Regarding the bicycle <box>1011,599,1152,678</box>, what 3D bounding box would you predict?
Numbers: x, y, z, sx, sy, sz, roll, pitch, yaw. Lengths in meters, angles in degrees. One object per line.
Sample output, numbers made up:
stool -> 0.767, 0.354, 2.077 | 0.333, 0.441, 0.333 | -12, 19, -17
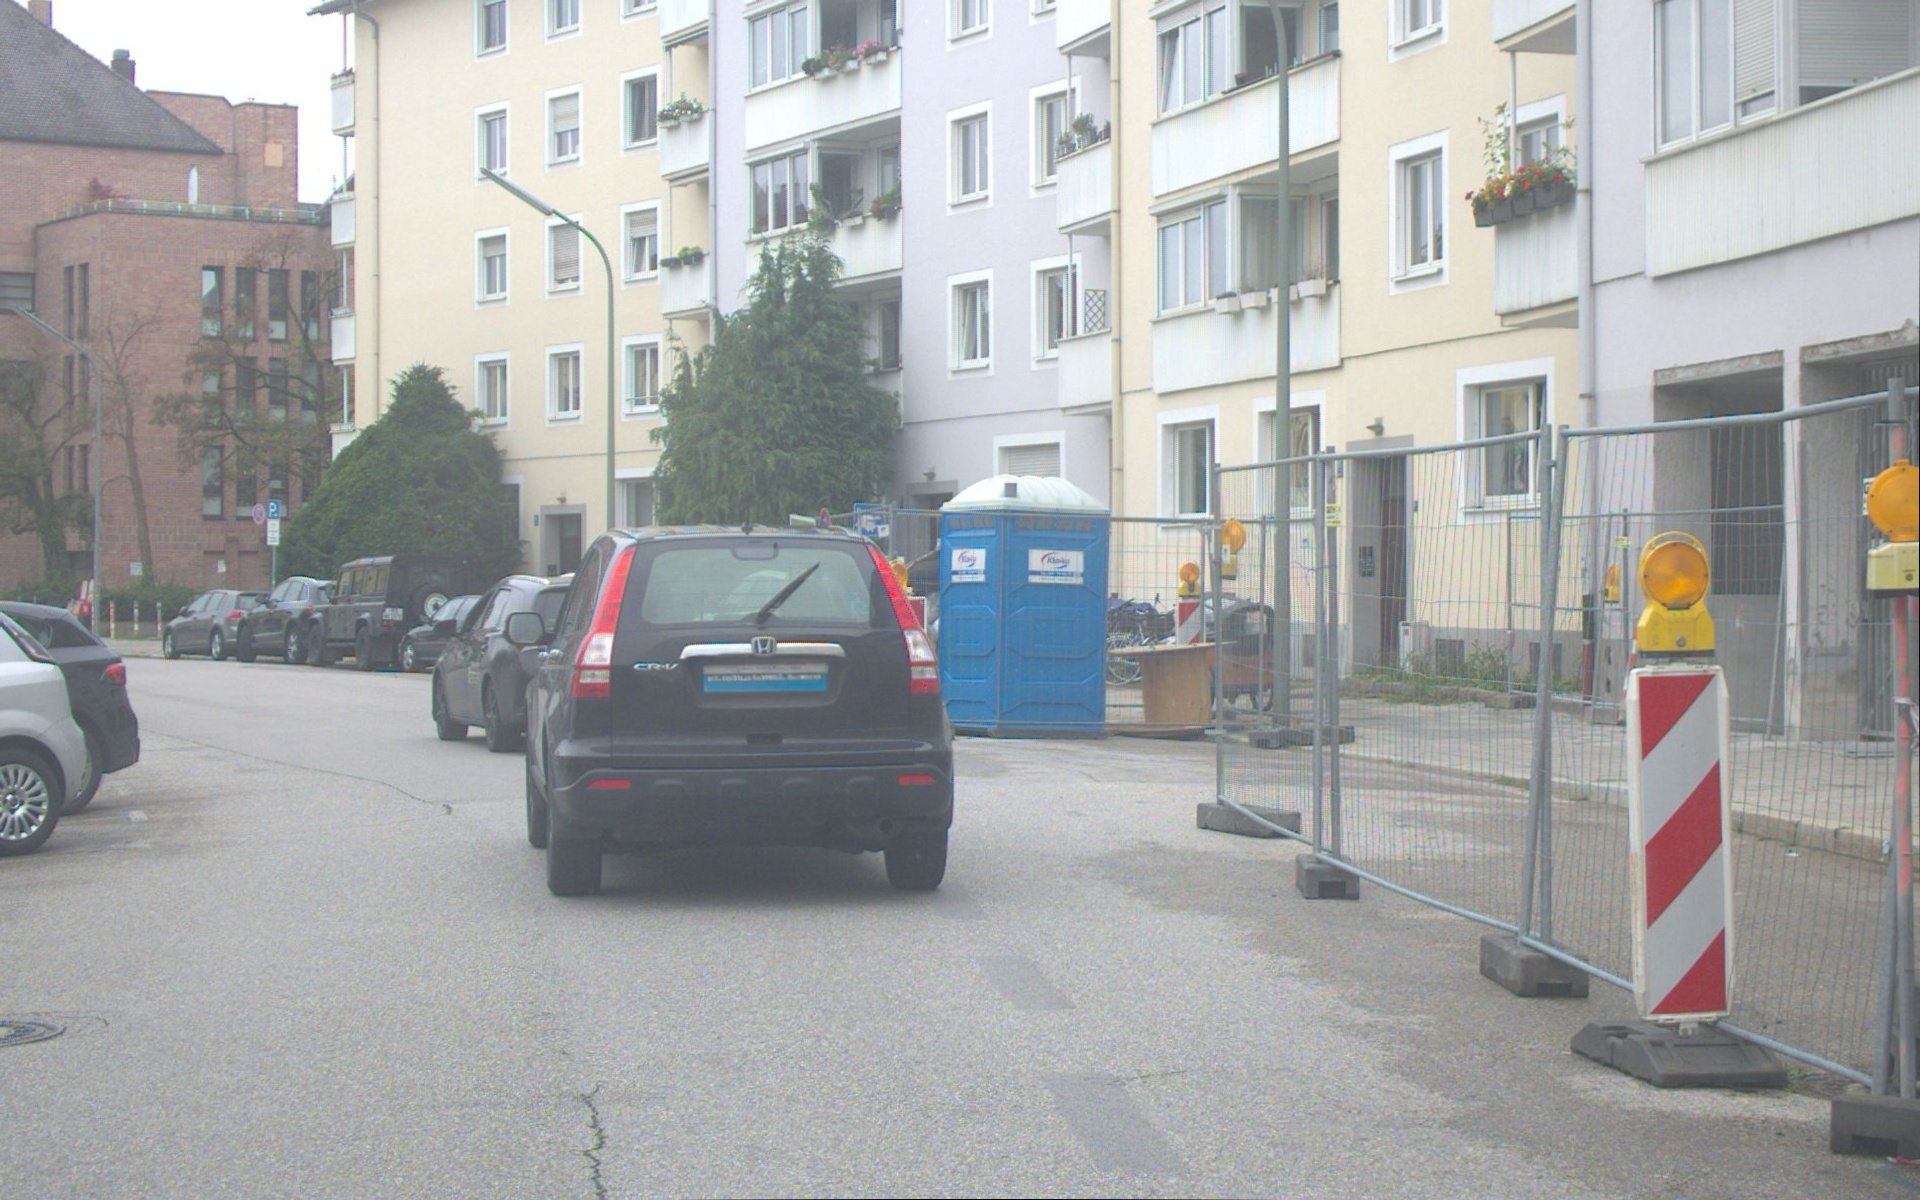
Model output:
bicycle -> 1.699, 0.532, 48.206 | 1.865, 1.087, 0.646 | 0, 0, -15

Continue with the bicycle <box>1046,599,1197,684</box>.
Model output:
bicycle -> 2.088, 0.536, 44.505 | 1.865, 1.087, 0.566 | 0, 0, -15

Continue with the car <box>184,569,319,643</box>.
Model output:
car -> -14.008, 0.110, 67.866 | 1.697, 1.384, 3.602 | 0, 1, -27

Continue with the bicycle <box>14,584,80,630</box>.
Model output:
bicycle -> -26.197, 0.202, 98.658 | 1.753, 1.284, 0.553 | 0, 0, -24

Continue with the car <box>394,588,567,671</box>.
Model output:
car -> -7.824, 0.462, 55.863 | 1.697, 1.232, 3.602 | 0, 1, -27

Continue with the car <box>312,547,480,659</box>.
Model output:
car -> -9.870, 0.028, 59.948 | 1.724, 1.871, 4.001 | 0, 1, -27

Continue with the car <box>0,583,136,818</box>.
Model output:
car -> -7.444, 0.635, 21.658 | 4.075, 1.476, 1.684 | 0, 1, -42

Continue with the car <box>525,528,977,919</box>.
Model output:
car -> -1.128, 0.503, 16.542 | 1.890, 1.642, 3.992 | 0, 0, -8

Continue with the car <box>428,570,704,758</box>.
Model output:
car -> -3.426, 0.490, 29.297 | 1.678, 1.476, 4.088 | 0, 1, -16

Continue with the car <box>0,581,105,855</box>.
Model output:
car -> -6.895, 0.766, 18.505 | 4.076, 1.476, 1.683 | -4, -1, -44

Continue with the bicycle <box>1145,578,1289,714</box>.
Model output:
bicycle -> 2.713, 0.470, 36.669 | 0.968, 1.384, 2.564 | 0, 1, -9

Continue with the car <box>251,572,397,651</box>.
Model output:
car -> -11.865, 0.202, 63.976 | 1.697, 1.384, 3.602 | 0, 1, -27

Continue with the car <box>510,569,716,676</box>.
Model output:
car -> -5.229, 0.314, 51.422 | 1.724, 1.478, 4.001 | 0, 1, -27

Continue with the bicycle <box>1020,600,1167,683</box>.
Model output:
bicycle -> 1.792, 0.552, 46.154 | 1.865, 1.087, 0.646 | 0, 0, -15
